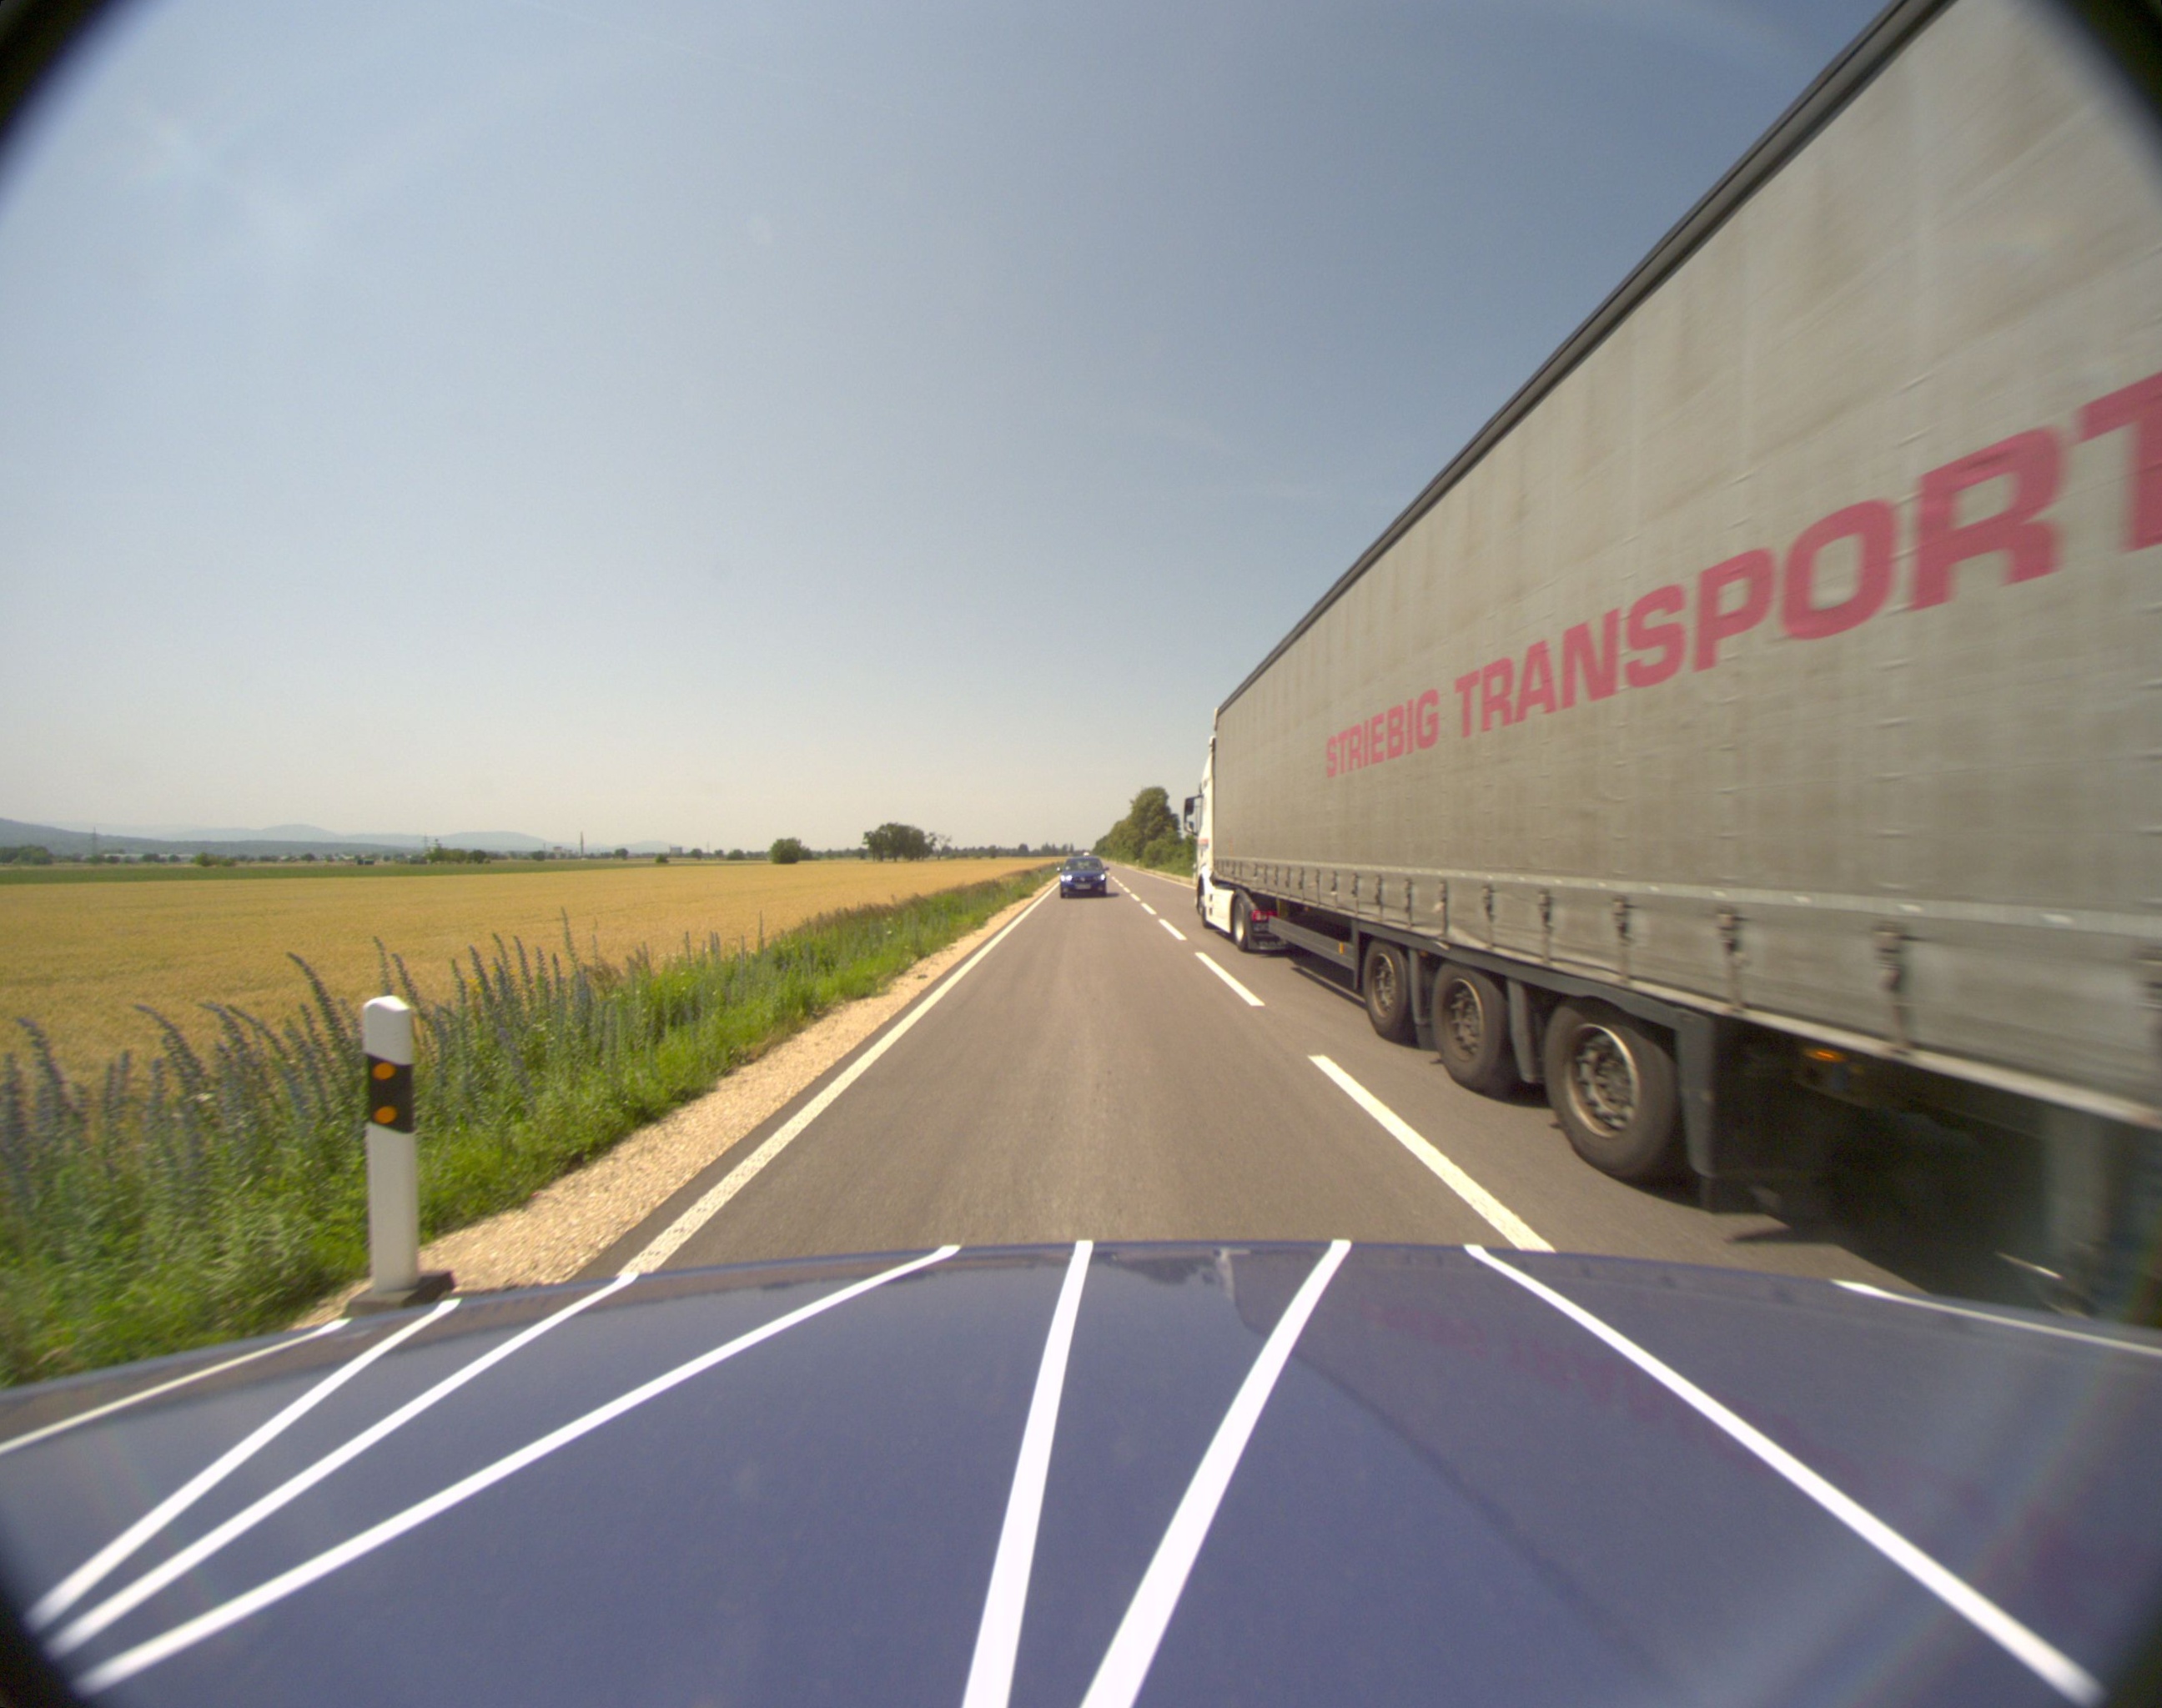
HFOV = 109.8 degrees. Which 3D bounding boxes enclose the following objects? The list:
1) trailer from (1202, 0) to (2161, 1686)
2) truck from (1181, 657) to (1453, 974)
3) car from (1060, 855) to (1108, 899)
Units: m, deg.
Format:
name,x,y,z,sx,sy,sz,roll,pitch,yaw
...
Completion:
name,x,y,z,sx,sy,sz,roll,pitch,yaw
trailer,3.581,-0.498,7.453,2.723,4.241,13.809,1,0,1
truck,3.666,-0.524,13.957,2.723,4.241,7.389,1,0,1
car,0.114,0.836,29.334,1.662,1.508,4.000,-2,0,0
